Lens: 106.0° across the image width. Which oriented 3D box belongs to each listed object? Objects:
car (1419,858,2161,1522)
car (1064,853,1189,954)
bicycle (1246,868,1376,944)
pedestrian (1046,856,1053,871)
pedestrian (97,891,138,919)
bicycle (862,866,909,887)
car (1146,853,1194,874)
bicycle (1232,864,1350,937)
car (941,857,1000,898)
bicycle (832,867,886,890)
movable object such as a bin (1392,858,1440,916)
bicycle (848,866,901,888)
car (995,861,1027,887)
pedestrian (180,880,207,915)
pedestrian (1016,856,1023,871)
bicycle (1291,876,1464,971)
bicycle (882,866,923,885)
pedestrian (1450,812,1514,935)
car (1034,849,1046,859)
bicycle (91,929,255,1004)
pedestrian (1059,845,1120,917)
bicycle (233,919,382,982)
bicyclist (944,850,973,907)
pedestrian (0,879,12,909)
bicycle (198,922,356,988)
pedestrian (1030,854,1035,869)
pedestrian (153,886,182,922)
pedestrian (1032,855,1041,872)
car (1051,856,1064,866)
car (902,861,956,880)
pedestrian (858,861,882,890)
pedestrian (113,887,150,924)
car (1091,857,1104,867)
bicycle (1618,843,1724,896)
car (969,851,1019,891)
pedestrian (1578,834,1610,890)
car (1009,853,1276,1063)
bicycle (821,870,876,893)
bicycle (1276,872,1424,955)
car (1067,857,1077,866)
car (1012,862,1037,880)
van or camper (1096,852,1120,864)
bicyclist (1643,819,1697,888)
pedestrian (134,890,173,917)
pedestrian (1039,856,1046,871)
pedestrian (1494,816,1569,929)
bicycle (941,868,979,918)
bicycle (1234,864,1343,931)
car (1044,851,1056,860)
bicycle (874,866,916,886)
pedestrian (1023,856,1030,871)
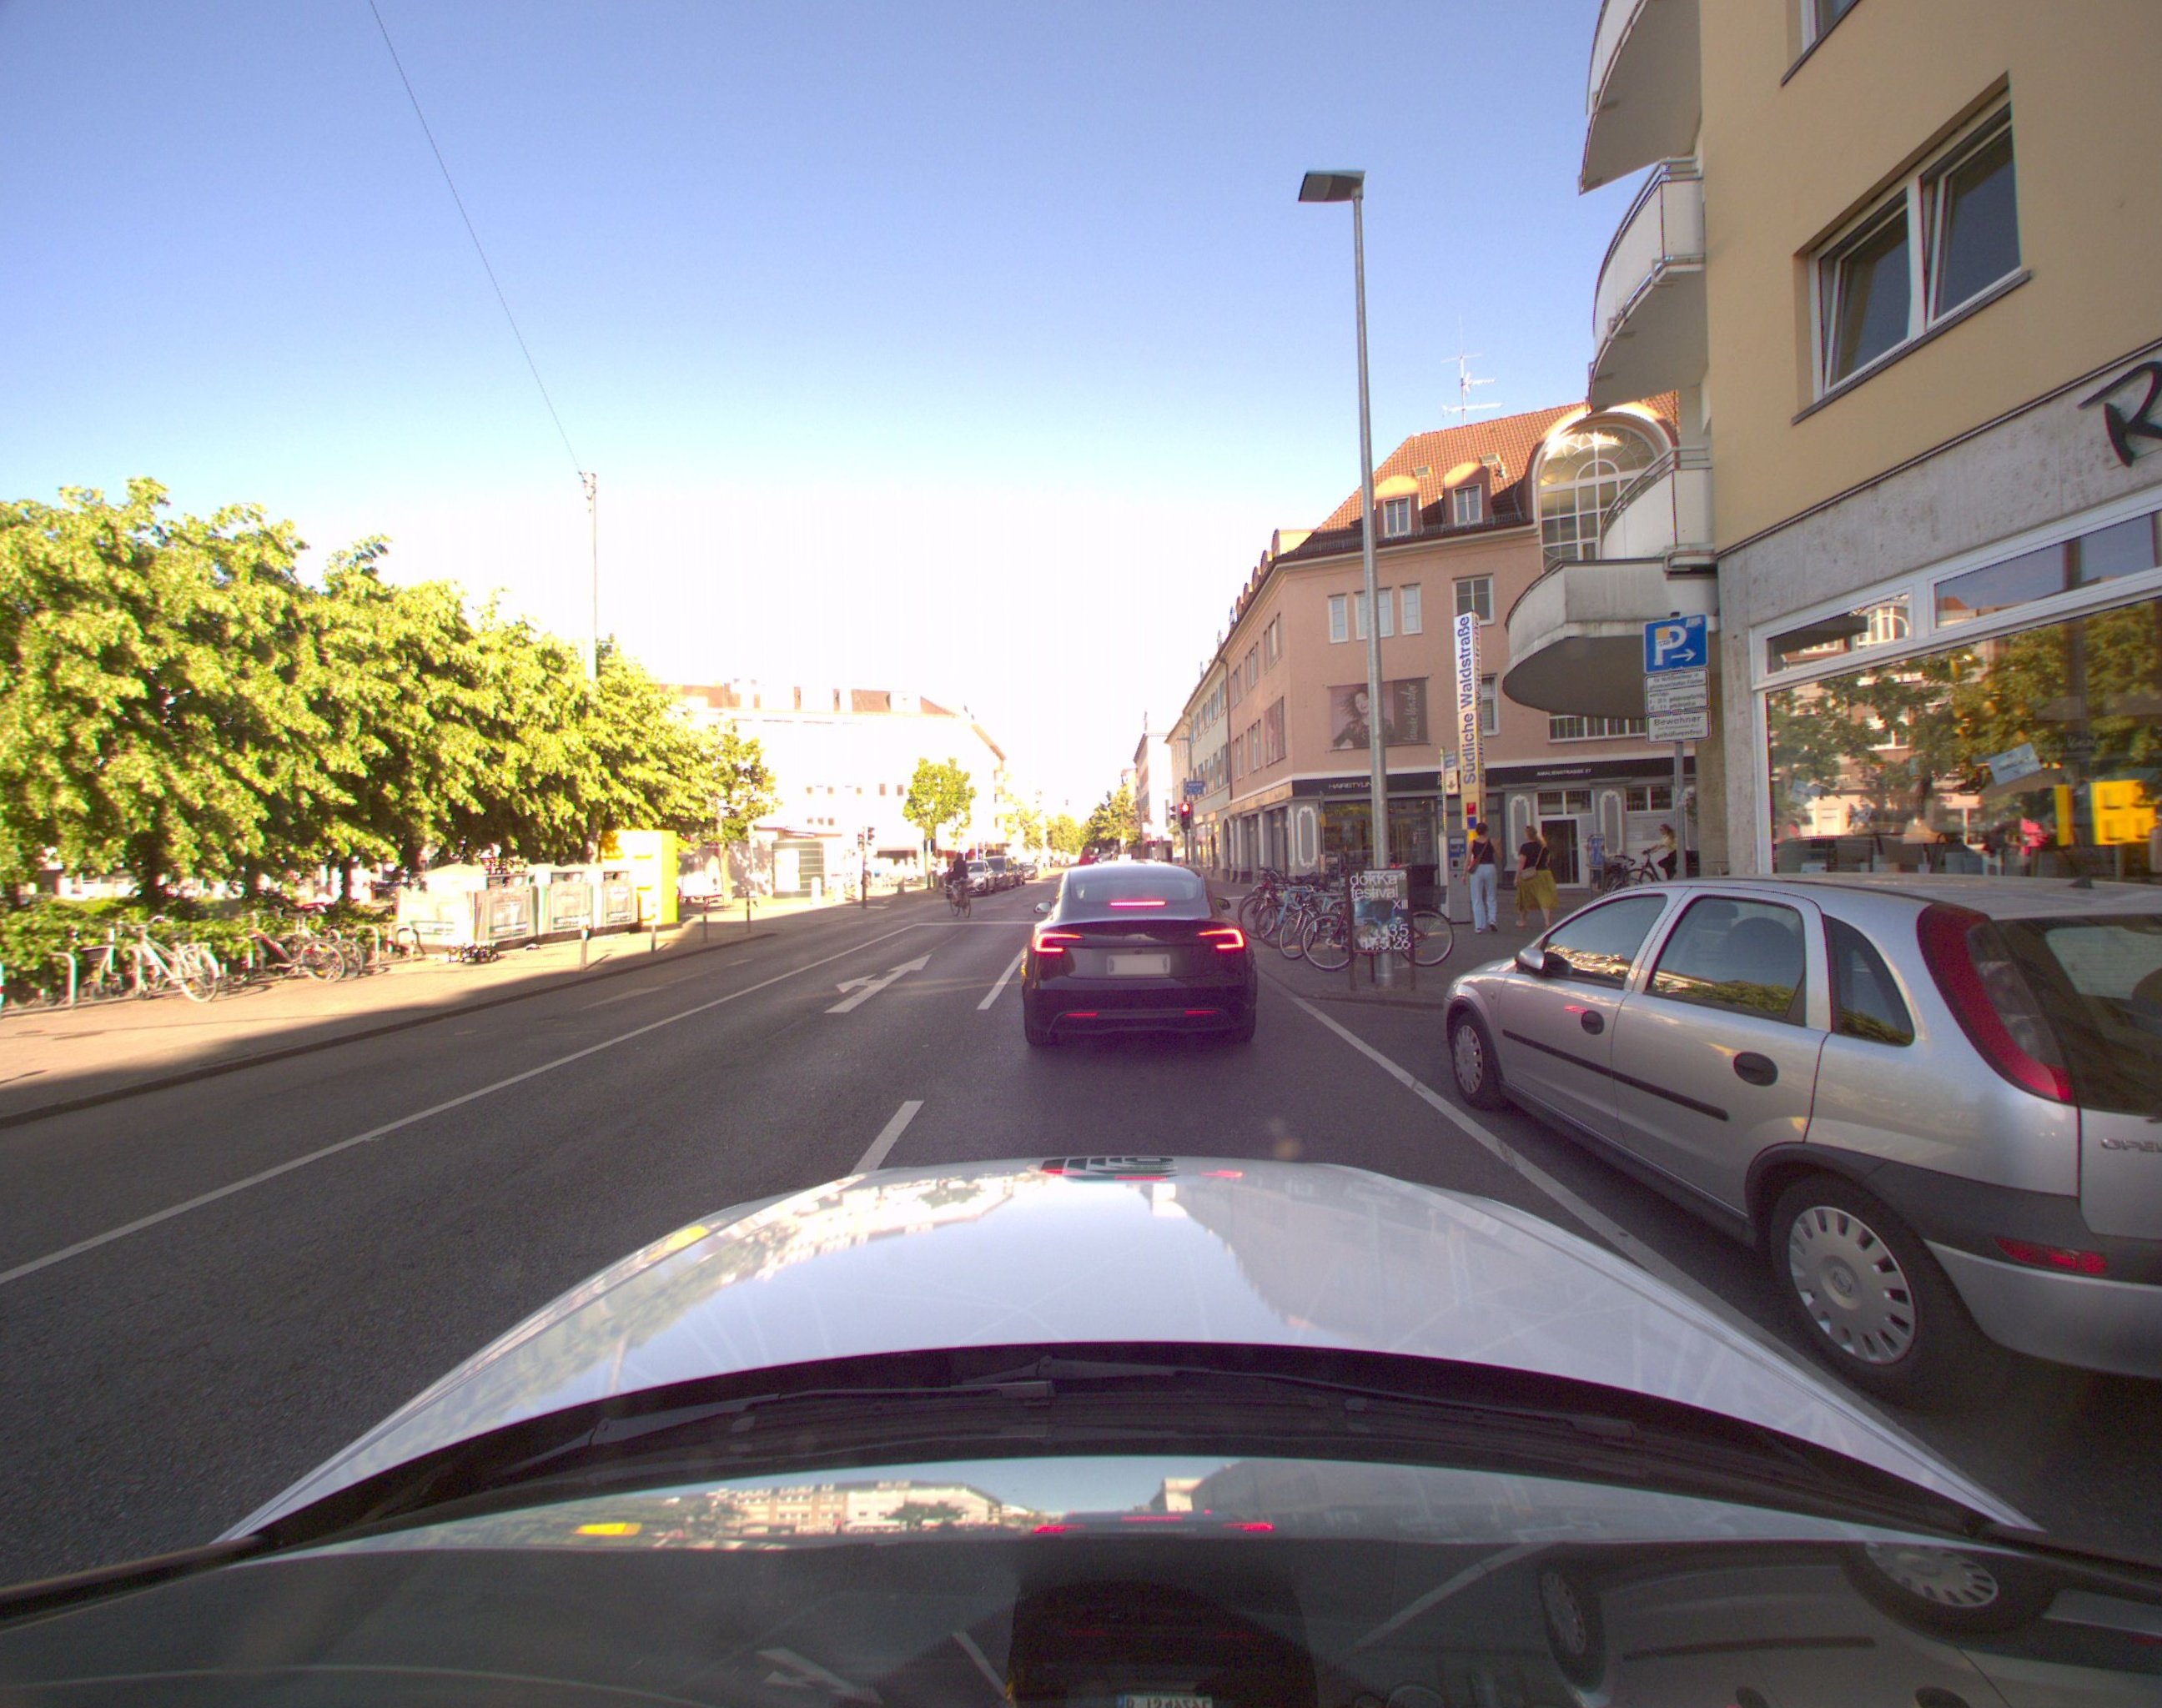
[{"bbox_3d":[2.960,0.737,3.546,1.578,1.426,3.581,0,-1,2],"label":"car"},{"bbox_3d":[0.741,0.748,14.306,1.843,1.482,4.453,0,0,2],"label":"car"},{"bbox_3d":[3.518,0.790,12.566,1.806,1.102,0.653,-1,0,3],"label":"bicycle"},{"bbox_3d":[-3.861,1.128,99.318,0.773,1.868,1.007,0,-1,-4],"label":"pedestrian"},{"bbox_3d":[-42.928,2.252,36.282,0.926,1.214,0.873,-1,-1,17],"label":"pedestrian"},{"bbox_3d":[-12.055,1.386,50.301,2.655,1.259,0.942,0,-1,-1],"label":"bicycle"},{"bbox_3d":[8.145,0.873,74.649,4.006,1.867,1.686,-1,0,-20],"label":"car"},{"bbox_3d":[3.496,0.774,13.642,1.806,1.152,0.653,-1,0,3],"label":"bicycle"},{"bbox_3d":[-4.885,1.015,36.597,1.818,1.565,4.302,-5,-1,2],"label":"car"},{"bbox_3d":[-12.395,1.370,45.587,2.772,1.274,0.933,0,-1,-2],"label":"bicycle"},{"bbox_3d":[6.744,0.658,16.422,0.633,1.103,0.728,-4,-1,5],"label":"movable object such as a bin"},{"bbox_3d":[-12.156,1.363,47.983,2.867,1.270,0.942,0,-1,-1],"label":"bicycle"},{"bbox_3d":[-4.258,1.205,50.046,1.455,1.430,3.607,-5,-1,2],"label":"car"},{"bbox_3d":[-39.219,1.907,36.002,0.553,1.508,0.611,-1,-1,17],"label":"pedestrian"},{"bbox_3d":[-7.348,1.137,97.346,0.734,1.868,0.787,0,-1,-15],"label":"pedestrian"},{"bbox_3d":[3.635,0.844,10.082,1.875,1.044,0.653,-2,0,3],"label":"bicycle"},{"bbox_3d":[-12.054,1.420,55.003,2.535,1.251,0.942,0,-1,-1],"label":"bicycle"},{"bbox_3d":[6.382,0.304,13.004,0.675,1.849,0.898,-5,-1,19],"label":"pedestrian"},{"bbox_3d":[-9.022,-0.010,180.137,2.266,2.014,4.720,0,-1,3],"label":"car"},{"bbox_3d":[-11.462,1.416,10.305,1.560,0.886,0.470,0,-1,1],"label":"bicycle"},{"bbox_3d":[0.213,0.643,19.930,1.099,1.719,1.068,-1,-1,32],"label":"pedestrian"},{"bbox_3d":[-11.462,1.423,12.101,1.663,0.859,0.469,0,-1,-5],"label":"bicycle"},{"bbox_3d":[-3.277,0.647,21.749,0.608,1.484,0.952,0,-1,-19],"label":"bicyclist"},{"bbox_3d":[-66.067,2.434,49.471,1.088,1.842,1.309,-1,-1,39],"label":"pedestrian"},{"bbox_3d":[-11.427,1.422,11.602,1.667,0.859,0.469,0,-1,-5],"label":"bicycle"},{"bbox_3d":[-6.217,0.979,104.224,0.693,1.868,0.658,0,-1,-3],"label":"pedestrian"},{"bbox_3d":[-39.656,2.167,35.363,0.827,1.520,0.782,-1,-1,38],"label":"pedestrian"},{"bbox_3d":[-5.134,1.101,94.940,0.726,1.868,0.796,-1,-1,30],"label":"pedestrian"},{"bbox_3d":[-4.861,1.325,166.808,2.405,1.970,4.679,-1,0,2],"label":"car"},{"bbox_3d":[-14.343,1.557,76.753,4.718,1.430,1.722,-5,-1,-22],"label":"car"},{"bbox_3d":[-12.241,1.231,47.134,1.099,1.611,1.255,0,-1,-27],"label":"pedestrian"},{"bbox_3d":[-40.825,2.186,35.017,0.928,1.520,0.924,0,-1,-43],"label":"pedestrian"},{"bbox_3d":[3.029,1.430,148.787,2.025,1.788,4.013,-1,0,6],"label":"car"},{"bbox_3d":[14.184,0.375,19.632,1.938,1.158,0.578,-4,-1,18],"label":"bicycle"},{"bbox_3d":[-4.497,0.835,42.920,1.938,1.947,4.822,-1,0,2],"label":"car"},{"bbox_3d":[14.519,0.215,23.049,0.714,1.549,0.797,-1,-1,30],"label":"pedestrian"},{"bbox_3d":[0.495,0.737,7.882,1.843,1.447,4.453,0,0,2],"label":"car"},{"bbox_3d":[-12.326,1.438,43.244,2.652,1.195,0.942,0,-1,-1],"label":"bicycle"},{"bbox_3d":[3.655,0.796,11.155,1.806,1.060,0.653,-1,0,3],"label":"bicycle"},{"bbox_3d":[-2.000,1.781,187.428,2.124,1.970,4.135,-1,0,2],"label":"car"},{"bbox_3d":[-4.357,1.295,63.559,1.688,1.390,3.914,0,-1,-1],"label":"car"},{"bbox_3d":[5.632,0.855,167.660,4.832,2.438,1.851,-1,0,1],"label":"van or camper"},{"bbox_3d":[14.193,-0.009,19.634,0.819,1.614,0.582,-4,-1,17],"label":"bicyclist"},{"bbox_3d":[-42.914,2.290,37.690,0.857,1.214,0.904,-1,-1,17],"label":"pedestrian"},{"bbox_3d":[-4.876,1.164,102.874,0.694,1.868,0.907,0,-1,-9],"label":"pedestrian"},{"bbox_3d":[7.327,0.298,13.292,0.717,1.754,0.789,-4,-1,6],"label":"pedestrian"},{"bbox_3d":[-3.235,1.004,21.646,0.630,1.223,1.987,-2,0,-19],"label":"bicycle"},{"bbox_3d":[3.736,0.782,14.771,1.806,1.152,0.653,-1,0,3],"label":"bicycle"},{"bbox_3d":[-7.166,0.293,188.732,2.266,2.014,4.720,0,-1,3],"label":"car"},{"bbox_3d":[-12.001,1.400,52.576,2.535,1.251,0.942,0,-1,-1],"label":"bicycle"},{"bbox_3d":[-6.499,1.133,97.615,0.734,1.868,0.787,0,-1,-15],"label":"pedestrian"}]
